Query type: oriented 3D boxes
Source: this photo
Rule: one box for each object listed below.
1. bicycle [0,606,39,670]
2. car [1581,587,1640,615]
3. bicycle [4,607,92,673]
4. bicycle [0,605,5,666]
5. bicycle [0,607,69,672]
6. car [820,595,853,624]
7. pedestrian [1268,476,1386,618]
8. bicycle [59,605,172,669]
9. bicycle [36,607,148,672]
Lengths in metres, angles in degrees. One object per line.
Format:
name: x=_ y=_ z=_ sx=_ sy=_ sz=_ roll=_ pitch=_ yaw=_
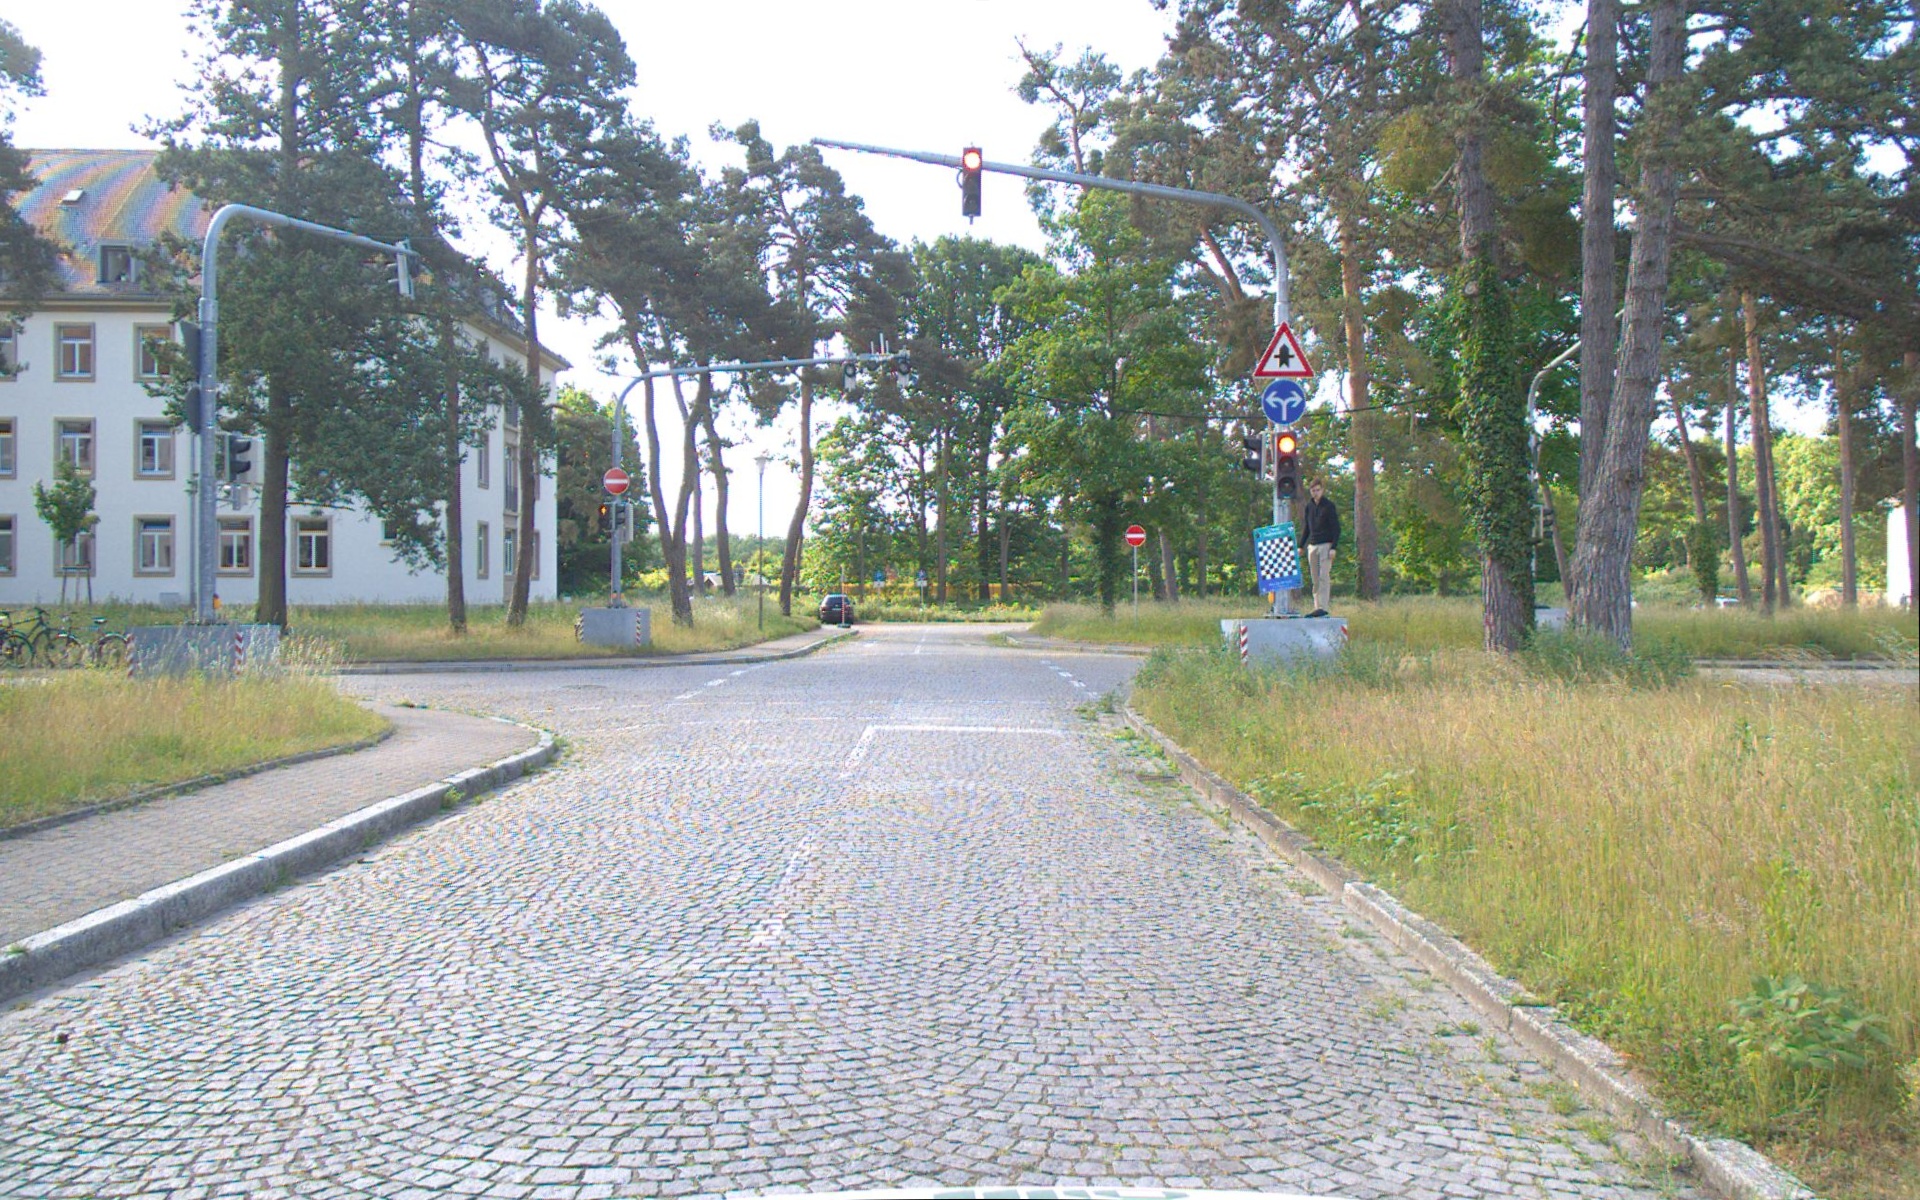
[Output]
bicycle: x=-19.139 y=0.753 z=32.787 sx=0.620 sy=1.242 sz=2.104 roll=0 pitch=0 yaw=-1
car: x=37.801 y=0.044 z=96.197 sx=1.790 sy=1.609 sz=4.162 roll=0 pitch=0 yaw=-1
bicycle: x=-18.070 y=0.773 z=32.815 sx=0.620 sy=1.242 sz=2.114 roll=0 pitch=0 yaw=-1
bicycle: x=-19.986 y=0.735 z=33.152 sx=0.560 sy=1.242 sz=1.989 roll=0 pitch=0 yaw=-1
bicycle: x=-18.545 y=0.765 z=32.795 sx=0.620 sy=1.242 sz=2.123 roll=0 pitch=0 yaw=-1
car: x=-6.662 y=0.506 z=89.609 sx=1.675 sy=1.522 sz=3.917 roll=0 pitch=0 yaw=-3
pedestrian: x=4.909 y=-0.691 z=22.099 sx=1.152 sy=1.827 sz=1.056 roll=-1 pitch=0 yaw=44
bicycle: x=-16.731 y=0.733 z=32.802 sx=1.905 sy=1.242 sz=0.635 roll=0 pitch=0 yaw=-1
bicycle: x=-16.820 y=0.756 z=32.086 sx=1.824 sy=1.242 sz=0.635 roll=0 pitch=0 yaw=-1
